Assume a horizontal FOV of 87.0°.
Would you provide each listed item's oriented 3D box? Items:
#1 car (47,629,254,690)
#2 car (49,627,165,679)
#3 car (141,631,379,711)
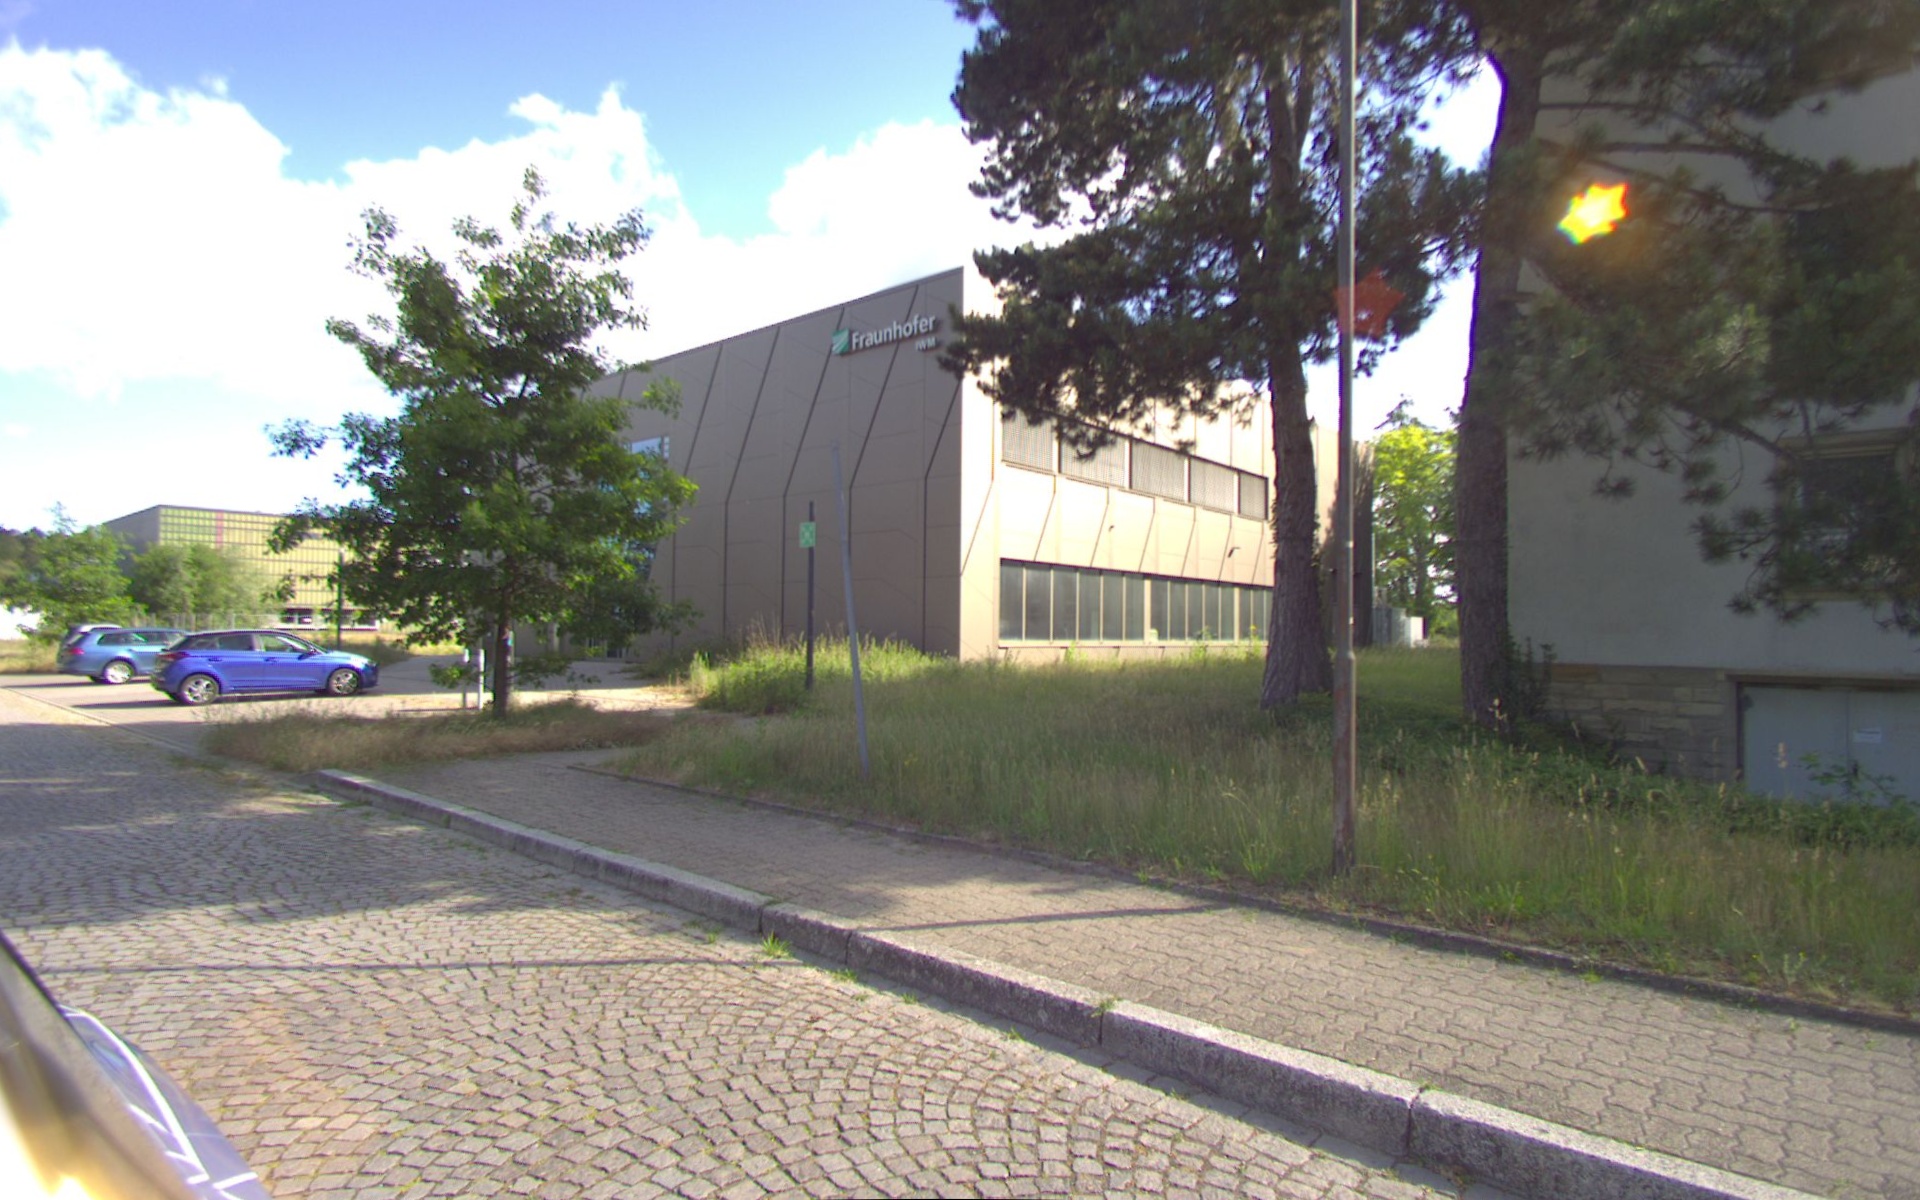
[{"bbox_3d":[-21.931,1.543,27.544,1.732,1.485,4.128,-1,-1,38],"label":"car"},{"bbox_3d":[-27.387,1.669,32.527,1.480,1.580,2.619,-1,-2,39],"label":"car"},{"bbox_3d":[-14.727,1.420,21.428,1.735,1.479,3.866,-2,-2,43],"label":"car"}]
